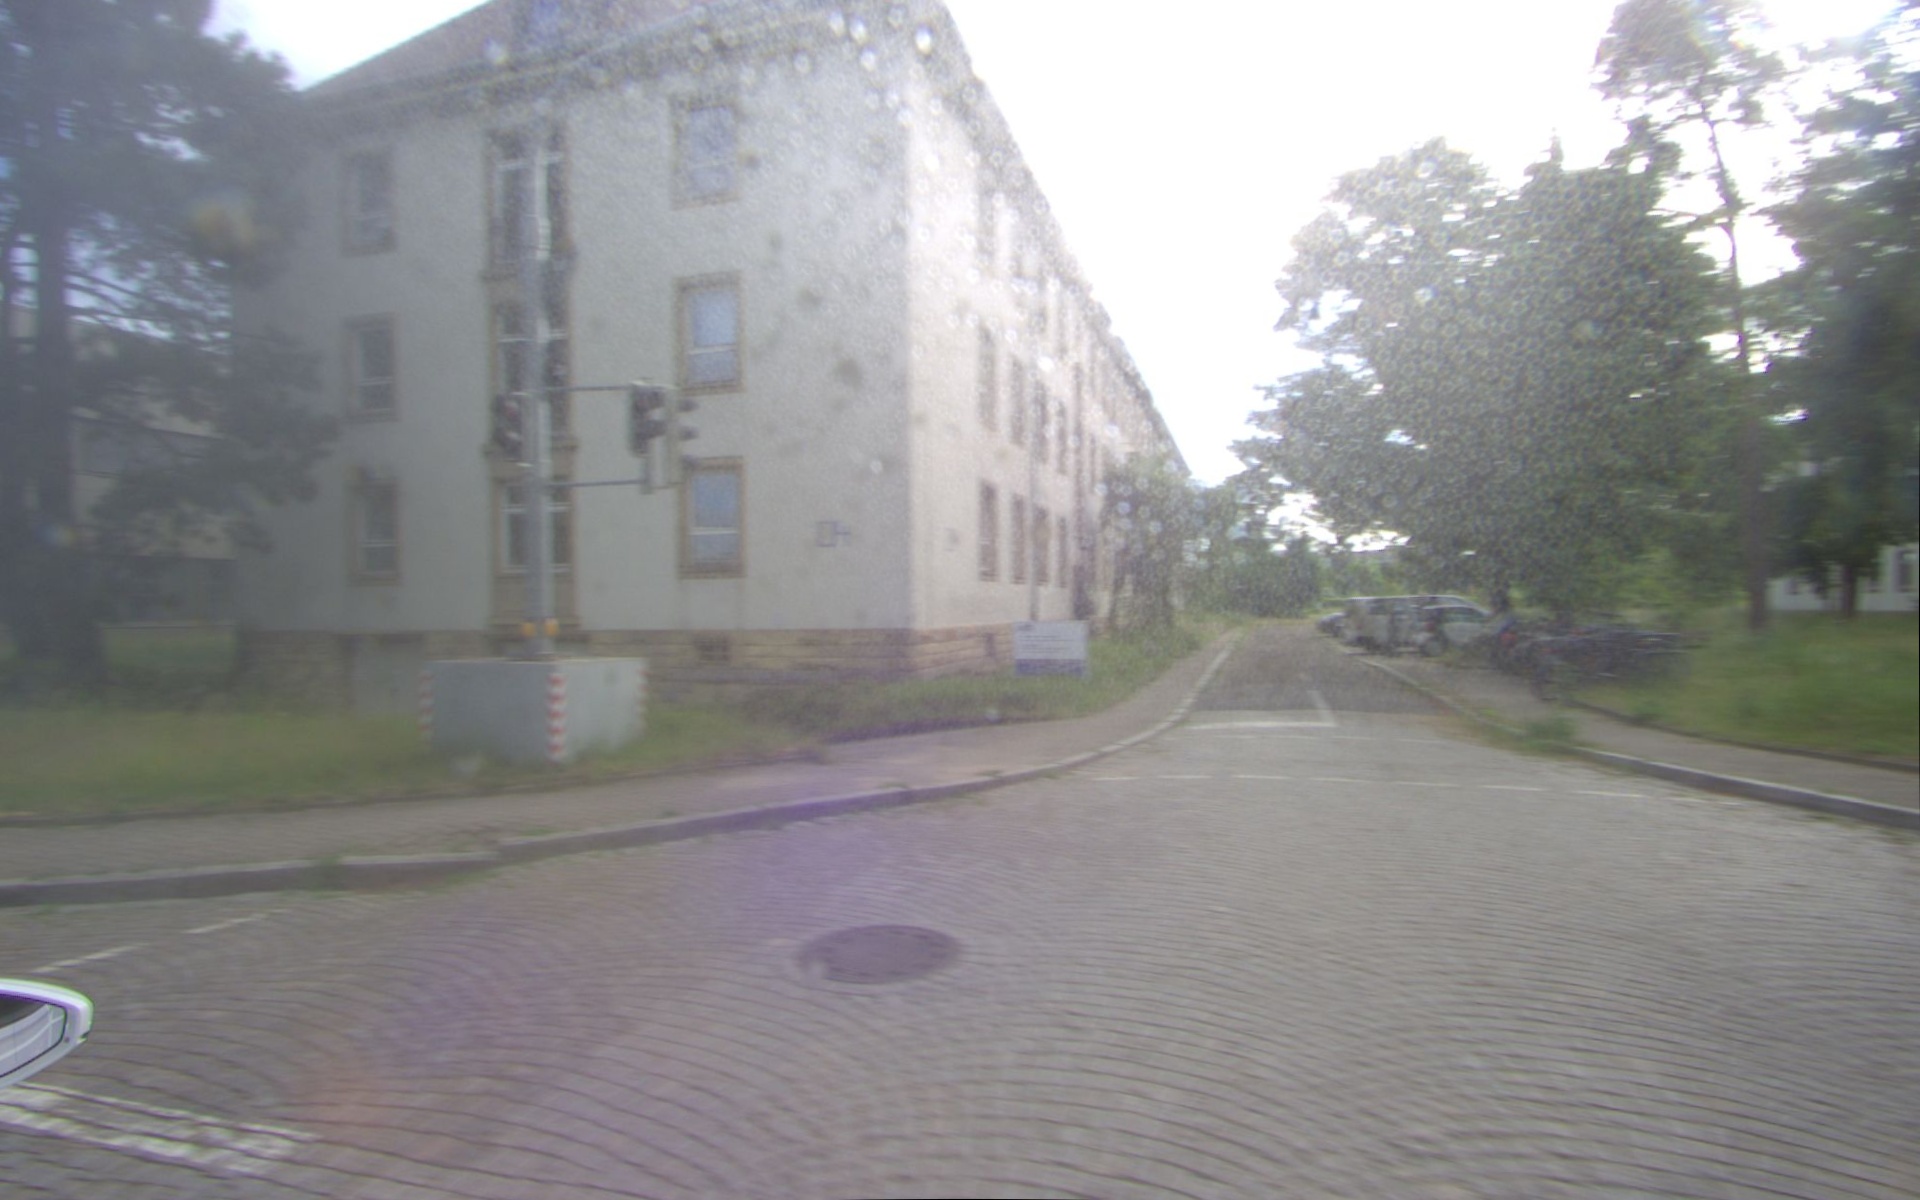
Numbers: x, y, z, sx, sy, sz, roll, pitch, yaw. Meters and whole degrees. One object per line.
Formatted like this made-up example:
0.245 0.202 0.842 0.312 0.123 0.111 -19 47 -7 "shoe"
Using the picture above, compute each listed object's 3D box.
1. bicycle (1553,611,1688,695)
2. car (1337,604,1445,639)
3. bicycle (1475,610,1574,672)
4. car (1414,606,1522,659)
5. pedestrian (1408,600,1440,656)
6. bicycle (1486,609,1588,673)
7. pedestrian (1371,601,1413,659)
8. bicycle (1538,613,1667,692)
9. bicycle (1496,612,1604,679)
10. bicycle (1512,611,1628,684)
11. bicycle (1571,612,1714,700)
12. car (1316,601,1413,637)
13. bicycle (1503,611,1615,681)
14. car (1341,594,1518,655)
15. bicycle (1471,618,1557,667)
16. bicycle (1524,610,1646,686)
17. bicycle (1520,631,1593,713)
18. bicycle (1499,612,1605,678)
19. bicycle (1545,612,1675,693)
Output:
10.951 0.861 16.670 1.808 1.349 0.571 0 0 25 "bicycle"
19.954 0.986 46.574 4.384 1.613 1.777 0 0 14 "car"
12.496 0.890 22.210 1.803 1.349 0.572 0 0 12 "bicycle"
15.112 0.939 29.910 2.644 1.529 1.474 0 0 17 "car"
14.670 0.882 31.680 0.864 1.760 0.797 0 0 21 "pedestrian"
12.361 0.862 21.508 1.803 1.349 0.572 0 0 12 "bicycle"
13.335 0.901 30.922 0.811 1.760 0.879 0 0 -34 "pedestrian"
11.236 0.899 17.556 1.803 1.349 0.572 0 0 12 "bicycle"
11.971 0.912 20.368 1.803 1.349 0.572 0 0 12 "bicycle"
11.628 0.897 19.134 1.803 1.349 0.572 0 0 12 "bicycle"
10.882 0.863 16.036 1.808 1.349 0.571 0 0 25 "bicycle"
20.072 0.939 49.860 4.308 1.740 1.997 0 0 17 "car"
11.745 0.890 19.685 1.803 1.349 0.572 0 0 12 "bicycle"
15.325 0.783 32.993 5.025 1.910 1.997 -1 0 17 "car"
13.856 1.056 25.072 1.803 1.202 0.572 0 0 11 "bicycle"
11.393 0.868 18.307 1.803 1.349 0.572 0 0 12 "bicycle"
8.834 1.032 14.885 0.563 1.099 1.834 -2 -1 20 "bicycle"
12.333 0.929 20.896 1.803 1.349 0.572 0 0 12 "bicycle"
11.103 0.886 17.144 1.803 1.349 0.482 0 0 12 "bicycle"
